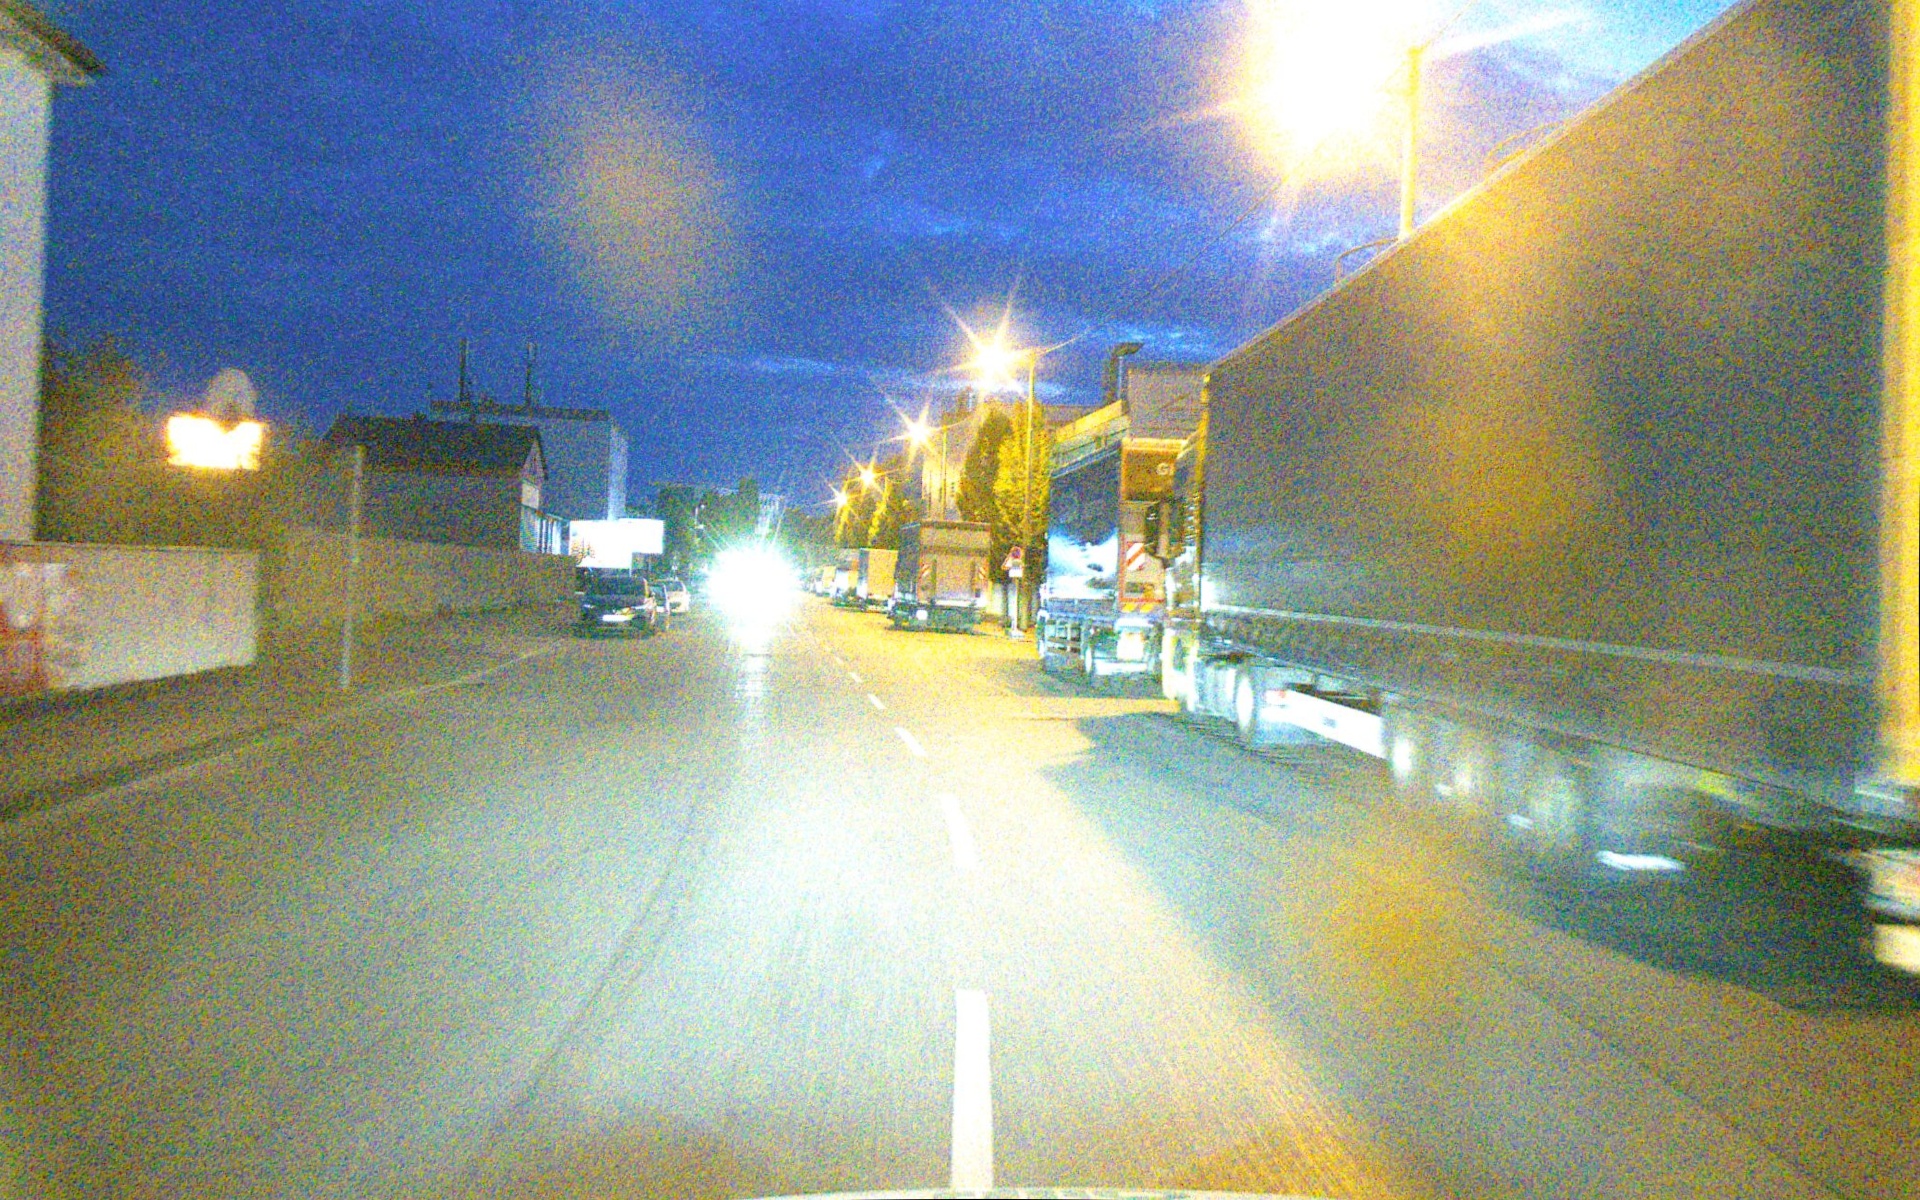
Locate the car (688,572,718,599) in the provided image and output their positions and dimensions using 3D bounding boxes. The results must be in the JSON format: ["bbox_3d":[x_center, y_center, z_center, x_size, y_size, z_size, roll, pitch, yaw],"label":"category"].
[{"bbox_3d":[-18.569,-1.030,119.637,1.956,1.825,3.994,2,0,-7],"label":"car"}]

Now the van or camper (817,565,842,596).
[{"bbox_3d":[-11.683,-1.711,147.840,1.955,2.626,4.908,2,0,-6],"label":"van or camper"}]

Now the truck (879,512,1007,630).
[{"bbox_3d":[-0.849,-1.013,62.931,3.455,4.053,10.322,1,0,-8],"label":"truck"}]

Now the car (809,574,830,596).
[{"bbox_3d":[-14.302,-1.550,168.241,1.956,2.183,3.994,2,0,-7],"label":"car"}]

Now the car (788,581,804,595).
[{"bbox_3d":[-21.605,-1.626,218.005,1.956,1.713,3.994,2,0,-7],"label":"car"}]

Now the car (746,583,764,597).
[{"bbox_3d":[-23.236,-1.131,187.363,1.956,1.422,3.994,2,0,-7],"label":"car"}]

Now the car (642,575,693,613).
[{"bbox_3d":[-11.962,-0.268,67.822,1.806,1.445,3.994,2,0,-7],"label":"car"}]

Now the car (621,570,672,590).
[{"bbox_3d":[-27.213,-1.743,143.719,3.951,1.622,1.977,1,0,-34],"label":"car"}]

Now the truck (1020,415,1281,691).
[{"bbox_3d":[3.032,-0.699,29.764,2.774,4.053,10.333,1,0,-4],"label":"truck"}]

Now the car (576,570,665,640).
[{"bbox_3d":[-8.963,0.110,43.976,1.956,1.665,4.765,3,0,-8],"label":"car"}]

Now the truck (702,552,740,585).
[{"bbox_3d":[-28.348,-3.693,196.182,3.822,3.684,8.236,2,0,-12],"label":"truck"}]

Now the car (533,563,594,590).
[{"bbox_3d":[-27.629,-1.614,115.397,3.914,1.680,1.996,2,0,-10],"label":"car"}]

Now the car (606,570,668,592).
[{"bbox_3d":[-26.459,-1.552,135.466,4.563,1.511,1.981,2,0,-30],"label":"car"}]

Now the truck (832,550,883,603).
[{"bbox_3d":[-7.143,-1.594,114.491,3.091,3.524,6.663,1,0,-7],"label":"truck"}]

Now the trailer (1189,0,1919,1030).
[{"bbox_3d":[4.343,-0.591,12.545,2.752,4.053,13.968,1,0,-2],"label":"trailer"}]

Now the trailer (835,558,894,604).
[{"bbox_3d":[-6.299,-1.196,107.410,3.124,2.797,10.699,1,0,-7],"label":"trailer"}]

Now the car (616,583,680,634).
[{"bbox_3d":[-9.250,0.220,49.186,1.571,1.377,3.994,3,1,-7],"label":"car"}]

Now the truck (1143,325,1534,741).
[{"bbox_3d":[4.084,-0.654,19.330,2.774,4.053,6.045,1,0,-4],"label":"truck"}]

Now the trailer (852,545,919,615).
[{"bbox_3d":[-4.190,-1.073,91.145,2.637,3.525,7.792,3,0,-9],"label":"trailer"}]
